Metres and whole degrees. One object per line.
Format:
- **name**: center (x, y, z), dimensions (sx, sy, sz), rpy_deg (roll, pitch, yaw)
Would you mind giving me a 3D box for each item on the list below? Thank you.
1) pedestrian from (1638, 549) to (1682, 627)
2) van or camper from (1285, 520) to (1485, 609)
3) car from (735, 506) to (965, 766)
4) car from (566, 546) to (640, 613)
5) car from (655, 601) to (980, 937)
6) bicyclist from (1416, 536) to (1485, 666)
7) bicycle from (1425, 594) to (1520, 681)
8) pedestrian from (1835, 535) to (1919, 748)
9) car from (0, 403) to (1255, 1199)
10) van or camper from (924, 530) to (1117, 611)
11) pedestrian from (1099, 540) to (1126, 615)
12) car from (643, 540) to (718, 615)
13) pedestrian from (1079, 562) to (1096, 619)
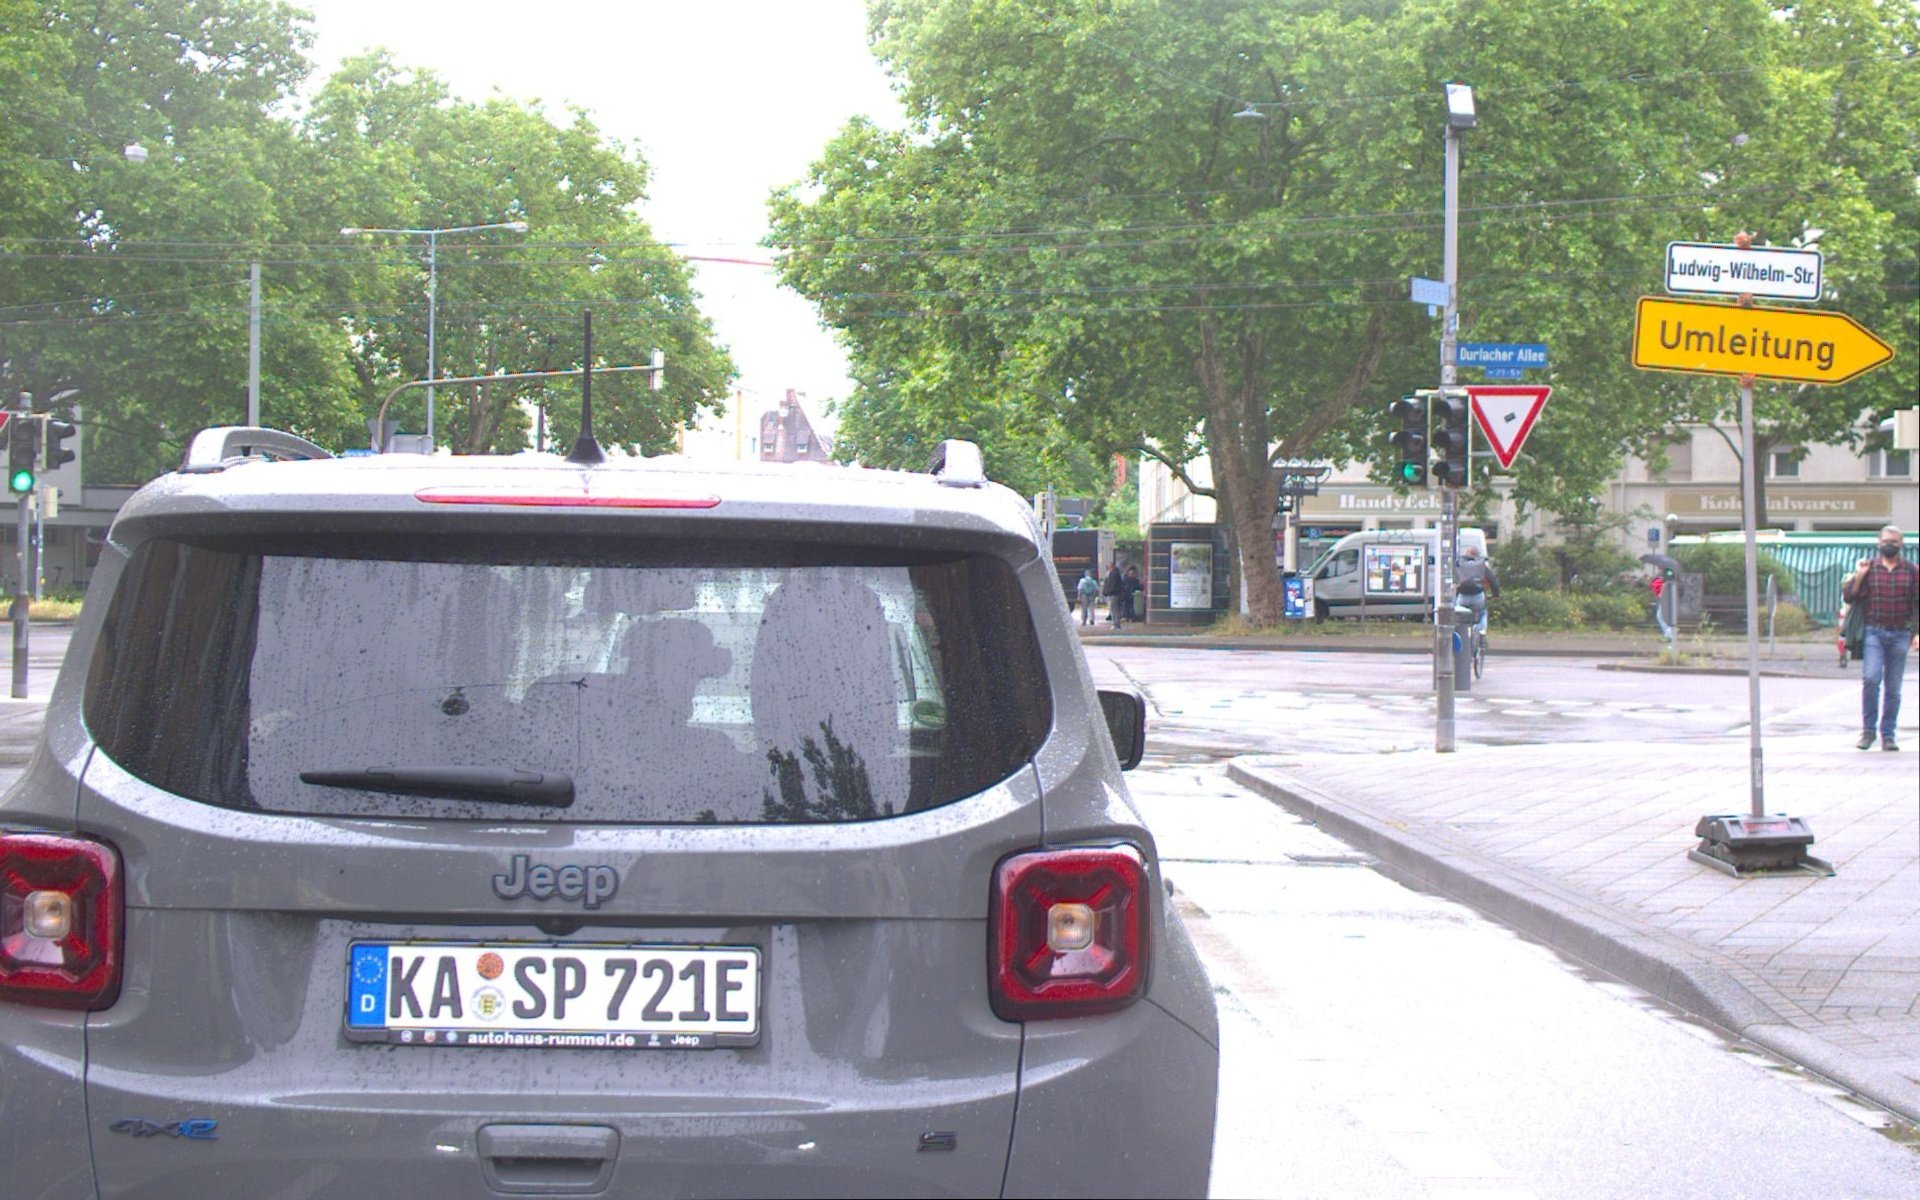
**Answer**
- **pedestrian**: center (14.061, -0.232, 69.040), dimensions (0.674, 1.548, 0.760), rpy_deg (1, -1, 27)
- **van or camper**: center (11.648, -0.982, 94.510), dimensions (5.260, 2.307, 2.090), rpy_deg (1, 1, 3)
- **car**: center (-0.896, 0.251, 28.753), dimensions (1.770, 2.007, 4.000), rpy_deg (0, 1, -1)
- **car**: center (-9.046, -0.532, 87.372), dimensions (1.813, 1.665, 3.921), rpy_deg (0, 1, -5)
- **car**: center (-0.630, 0.717, 16.189), dimensions (1.363, 1.371, 3.312), rpy_deg (0, 1, -1)
- **bicyclist**: center (6.163, 0.002, 43.154), dimensions (0.687, 1.612, 0.883), rpy_deg (0, 1, 19)
- **bicycle**: center (6.462, 0.460, 43.242), dimensions (0.692, 1.018, 2.655), rpy_deg (0, 1, 19)
- **pedestrian**: center (7.721, 0.334, 28.739), dimensions (0.786, 1.753, 0.945), rpy_deg (0, 1, 14)
- **car**: center (-0.589, 0.580, 6.081), dimensions (1.775, 1.681, 3.848), rpy_deg (0, 1, -2)
- **van or camper**: center (2.188, -1.092, 124.709), dimensions (6.536, 2.902, 2.491), rpy_deg (1, 1, 26)
- **pedestrian**: center (4.100, -0.605, 92.326), dimensions (0.651, 2.007, 0.482), rpy_deg (1, 1, 12)
- **car**: center (-6.598, -0.542, 81.205), dimensions (1.721, 1.733, 3.730), rpy_deg (0, 1, -5)
- **pedestrian**: center (3.806, -0.296, 102.509), dimensions (0.458, 1.698, 0.424), rpy_deg (1, 1, 0)
